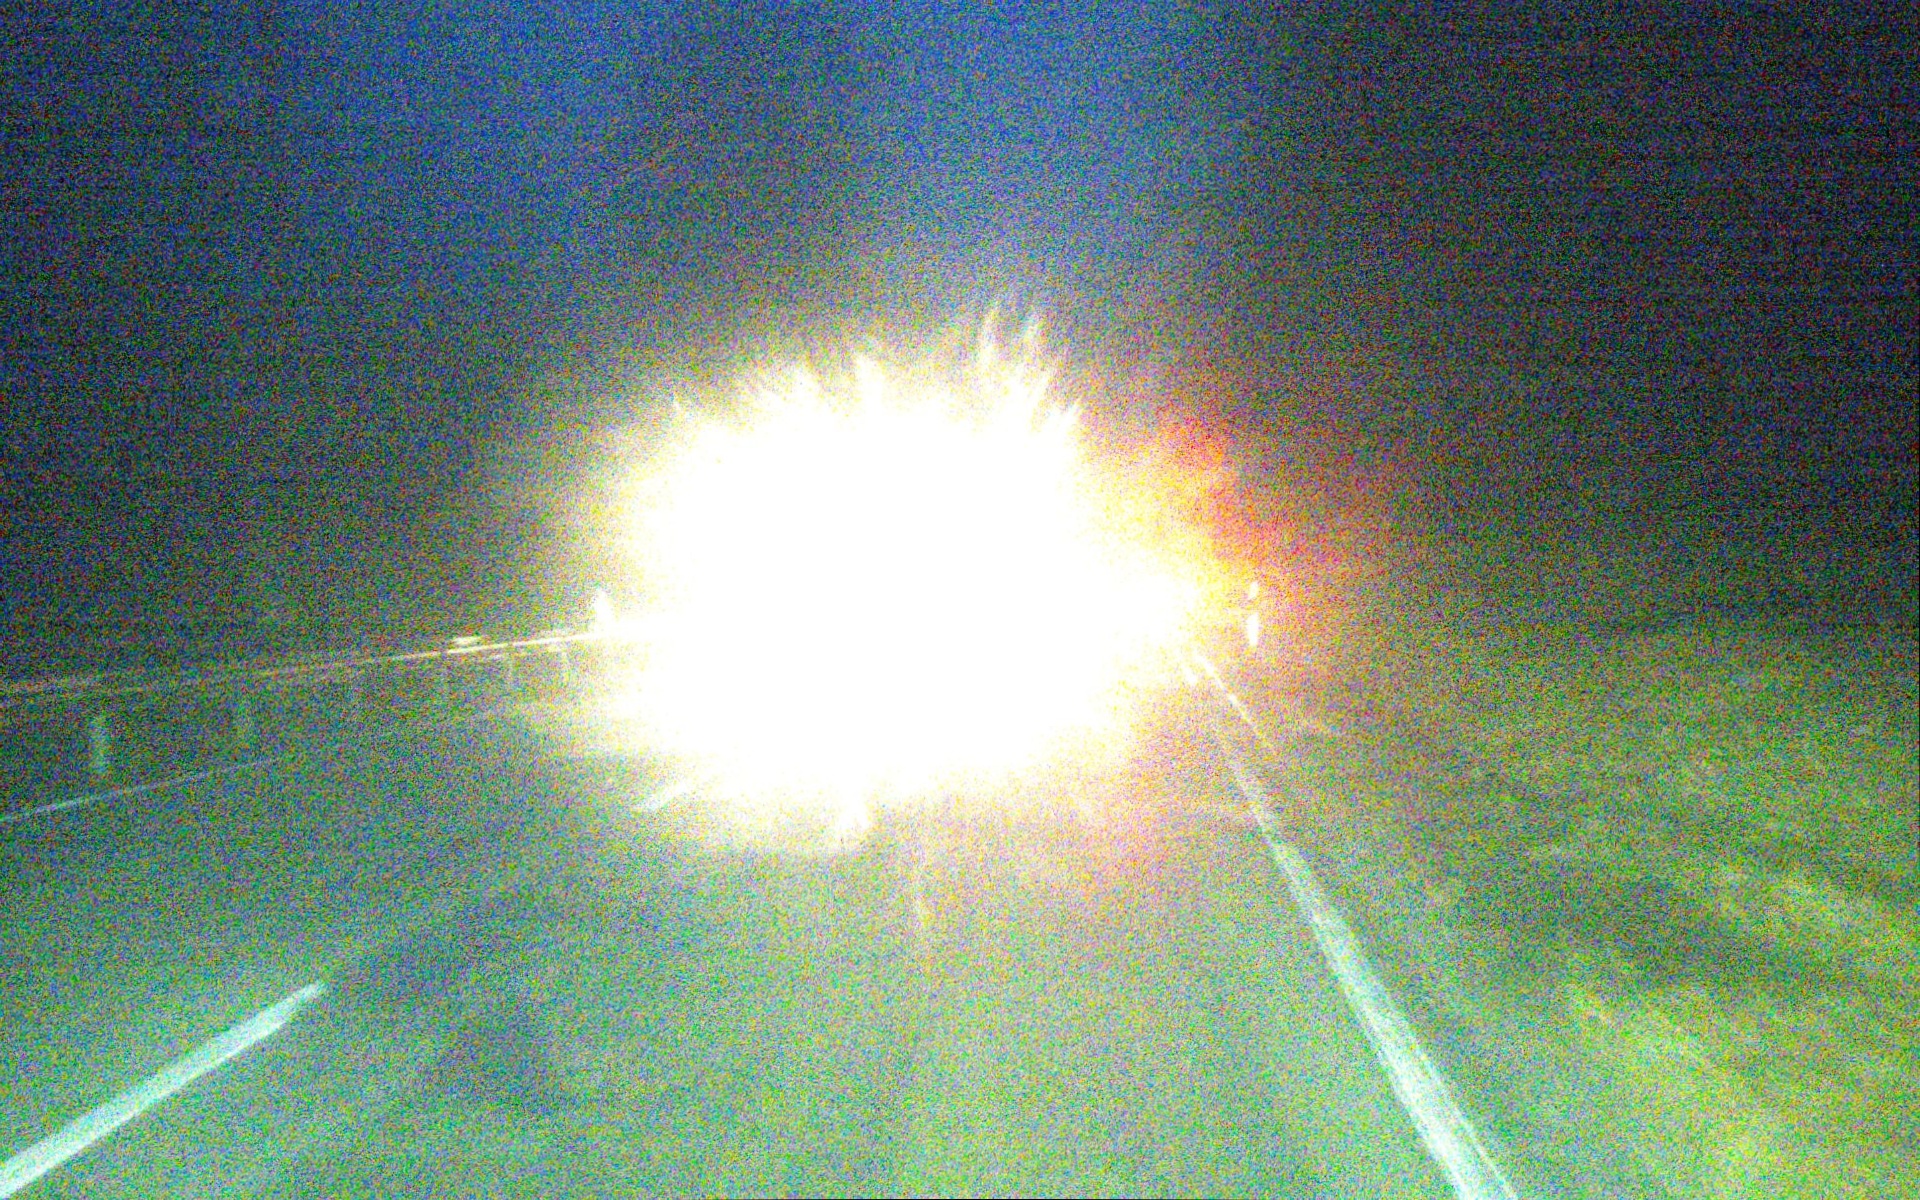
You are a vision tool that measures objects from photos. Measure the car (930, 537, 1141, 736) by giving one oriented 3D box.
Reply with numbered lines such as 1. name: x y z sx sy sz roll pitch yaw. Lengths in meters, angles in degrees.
1. car: 0.730 0.323 35.870 1.993 1.800 3.918 -3 2 0

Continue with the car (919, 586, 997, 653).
1. car: -0.041 0.566 103.649 1.800 1.574 4.457 -11 0 4
